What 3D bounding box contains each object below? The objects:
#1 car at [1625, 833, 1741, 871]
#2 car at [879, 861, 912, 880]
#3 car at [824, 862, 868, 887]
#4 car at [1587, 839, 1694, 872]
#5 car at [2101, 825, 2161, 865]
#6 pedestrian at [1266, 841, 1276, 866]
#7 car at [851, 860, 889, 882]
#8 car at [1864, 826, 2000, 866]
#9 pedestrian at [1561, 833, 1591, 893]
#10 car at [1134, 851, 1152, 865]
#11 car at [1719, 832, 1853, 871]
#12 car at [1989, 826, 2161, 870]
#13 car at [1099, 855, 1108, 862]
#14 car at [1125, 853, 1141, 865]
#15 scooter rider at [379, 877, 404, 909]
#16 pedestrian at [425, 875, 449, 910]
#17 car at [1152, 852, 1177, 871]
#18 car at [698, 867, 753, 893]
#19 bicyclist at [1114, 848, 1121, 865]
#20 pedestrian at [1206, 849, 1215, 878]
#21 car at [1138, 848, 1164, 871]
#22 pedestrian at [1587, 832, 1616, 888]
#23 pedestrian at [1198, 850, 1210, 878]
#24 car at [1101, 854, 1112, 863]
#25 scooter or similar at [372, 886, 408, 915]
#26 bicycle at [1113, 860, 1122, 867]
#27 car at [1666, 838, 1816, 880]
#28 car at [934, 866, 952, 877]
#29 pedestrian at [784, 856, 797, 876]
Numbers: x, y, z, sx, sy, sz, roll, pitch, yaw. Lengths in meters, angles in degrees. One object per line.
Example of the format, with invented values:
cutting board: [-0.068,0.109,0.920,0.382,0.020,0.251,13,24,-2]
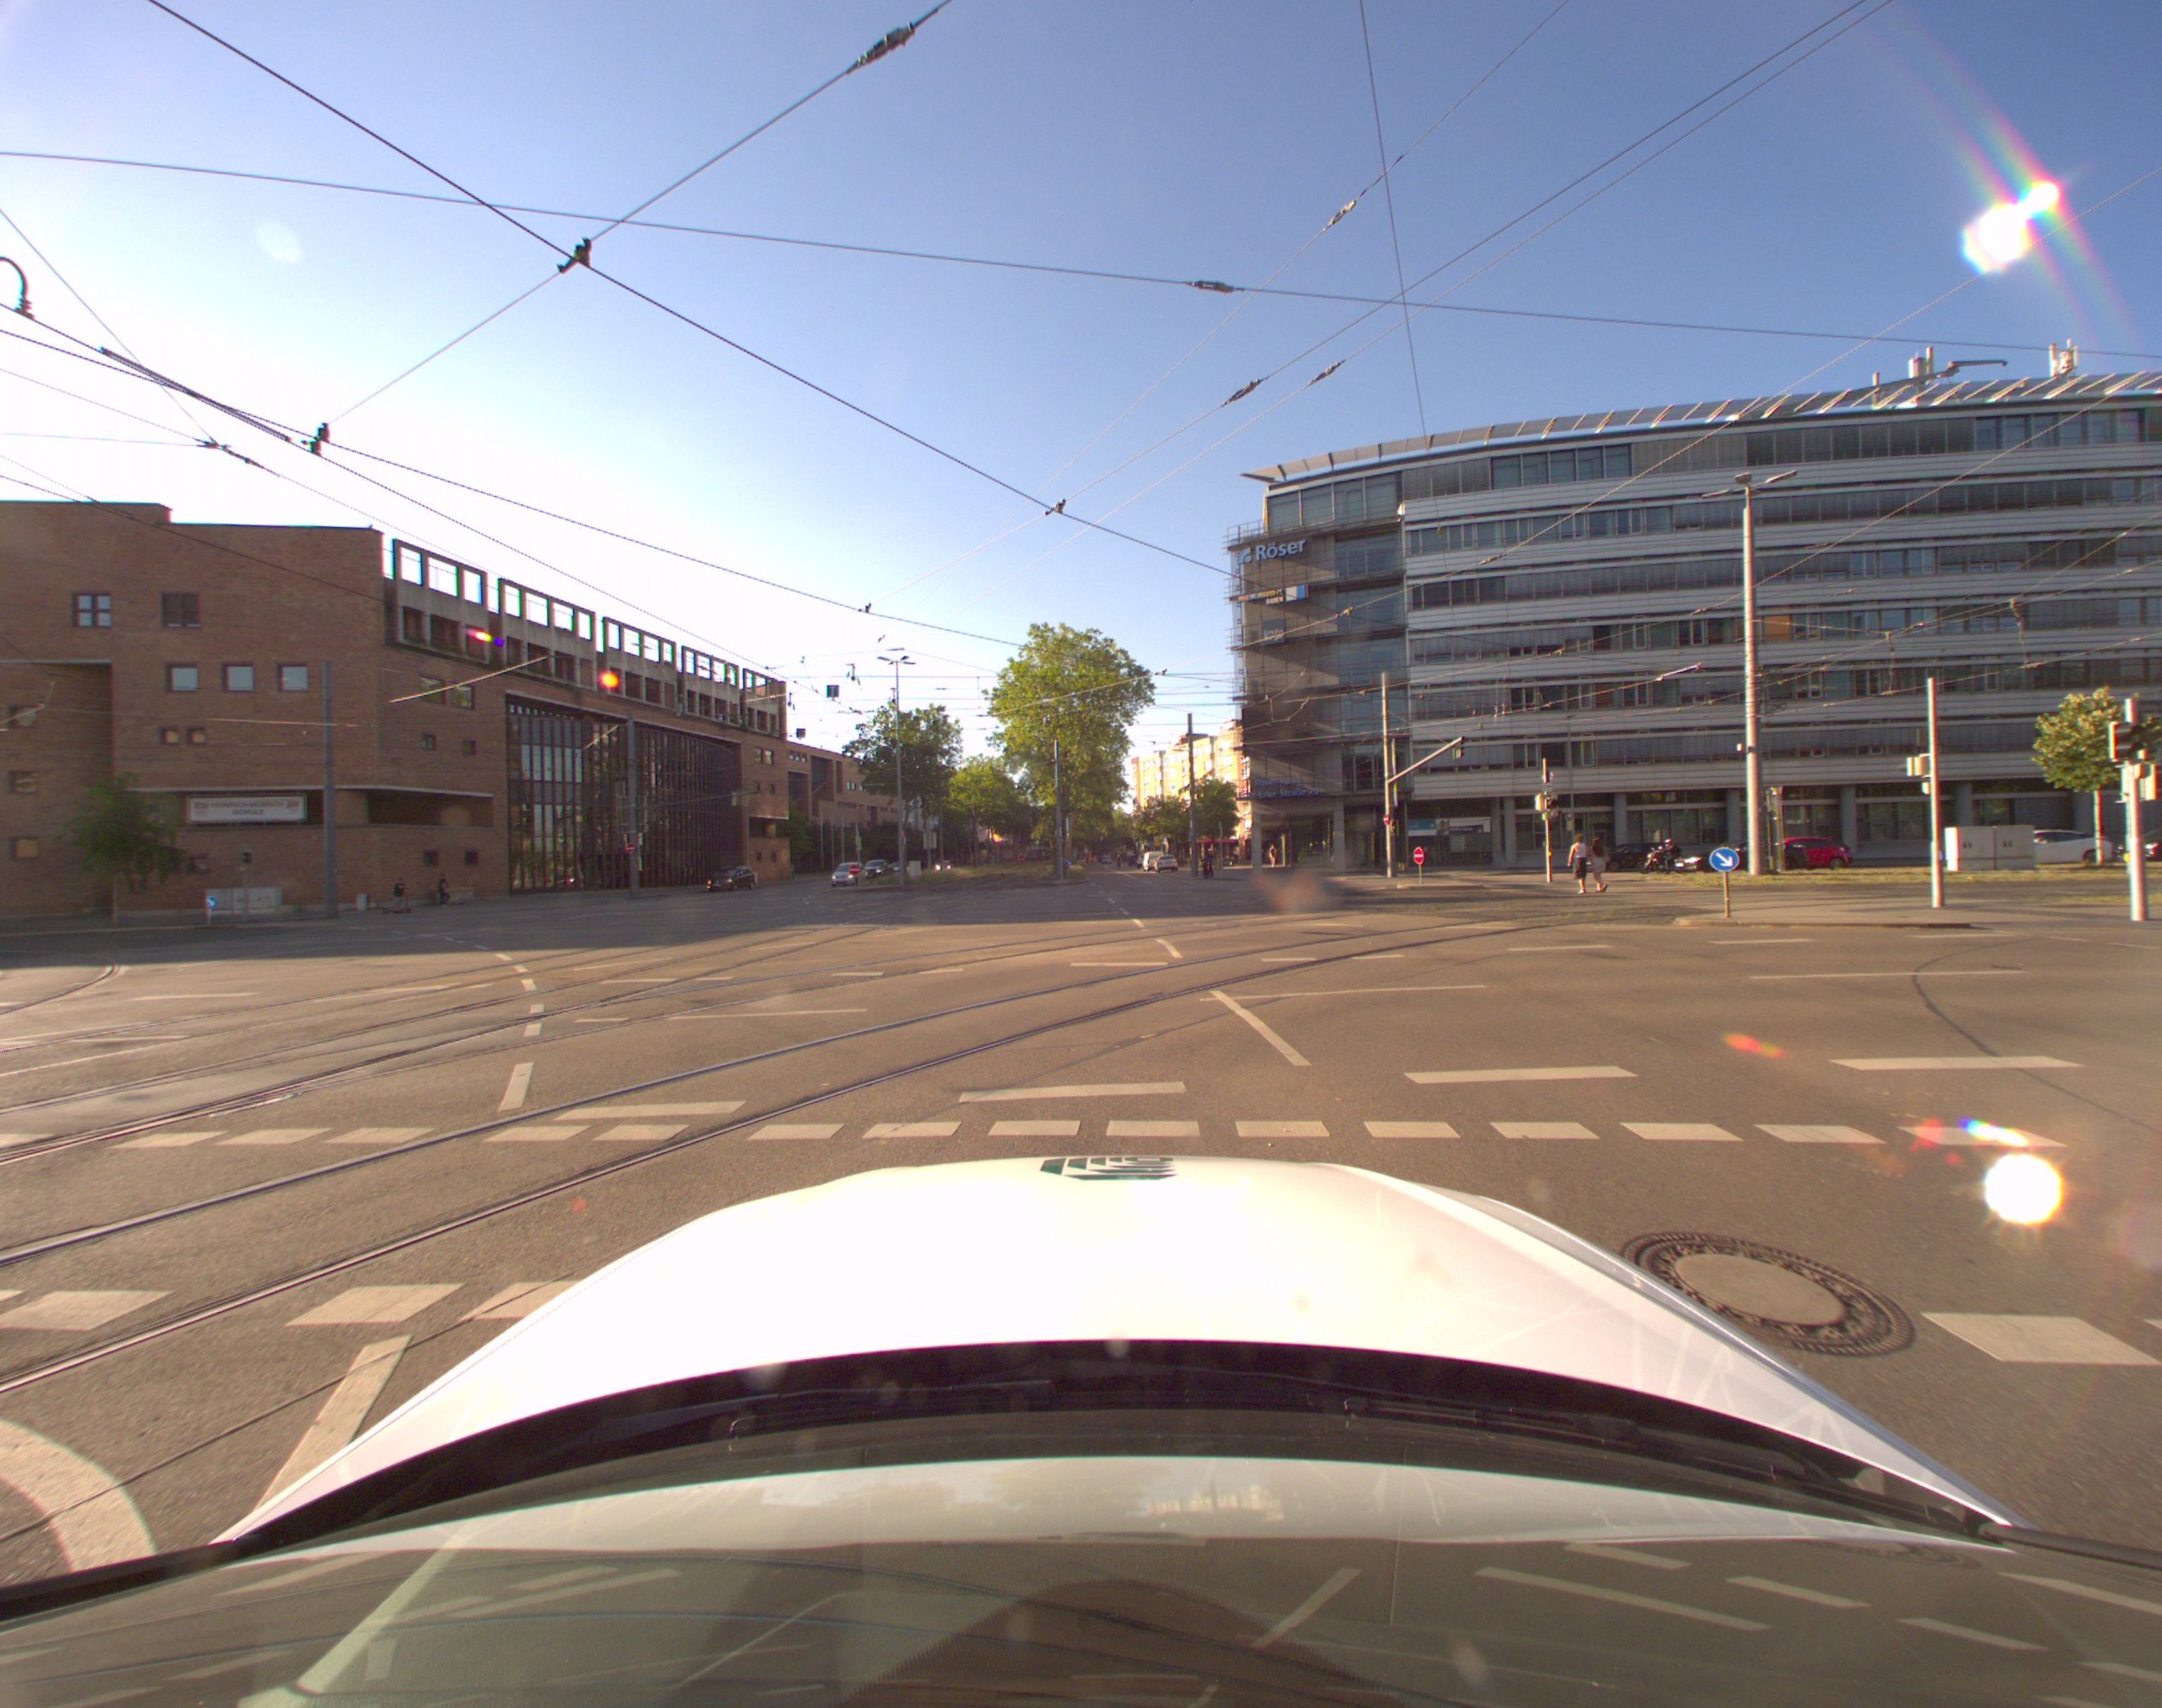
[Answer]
car: [27.427,-0.070,37.246,3.827,1.621,1.911,-1,0,12]
car: [-16.511,1.424,72.730,1.847,1.552,4.325,-2,0,0]
car: [-16.453,1.402,57.196,1.724,1.597,4.325,-2,0,0]
car: [28.689,0.069,41.915,4.130,1.621,1.911,-1,0,12]
car: [46.352,-0.401,34.209,4.130,1.621,1.911,-1,0,12]
pedestrian: [15.587,-0.006,66.839,0.670,2.013,0.515,-2,0,2]
car: [-16.663,1.327,64.478,1.847,1.650,4.325,-2,0,0]
car: [37.492,-0.333,35.971,3.963,1.596,1.633,-2,-1,9]
pedestrian: [15.370,0.273,25.308,0.690,1.842,0.973,-2,0,29]
car: [7.124,0.488,93.721,1.847,1.552,4.326,-2,0,1]
car: [31.434,-0.108,36.453,4.130,1.621,1.911,-1,0,12]
car: [39.484,-0.235,32.430,4.130,1.621,1.911,-1,0,12]
car: [5.106,0.986,184.550,1.846,1.552,4.329,-2,0,3]
car: [7.361,0.695,115.380,2.252,1.552,4.330,-2,0,4]
scooter rider: [-32.808,1.834,38.767,0.720,1.461,0.506,-2,0,-10]
pedestrian: [-32.932,1.964,41.654,0.656,1.716,0.829,-2,-1,40]
car: [7.286,0.623,71.475,1.847,1.552,4.326,-2,0,1]
car: [-25.026,1.795,57.548,1.827,1.654,4.500,-3,0,0]
bicyclist: [4.316,0.314,95.563,0.748,2.014,0.745,-1,0,8]
pedestrian: [8.251,0.614,51.899,0.374,1.824,0.544,-2,-1,-16]
car: [6.664,0.534,78.255,1.988,2.013,4.382,-2,0,-1]
pedestrian: [16.040,0.181,25.099,0.639,1.688,0.851,-2,0,29]
pedestrian: [7.940,0.642,52.668,0.544,1.824,0.586,-2,-1,-16]
car: [4.710,0.748,150.554,1.846,1.552,4.329,-2,0,3]
scooter or similar: [-32.873,2.221,38.752,1.129,1.318,0.527,-2,0,-11]
bicycle: [4.303,1.060,95.517,0.813,0.774,1.734,-2,0,8]
car: [27.394,0.206,33.943,4.479,1.621,1.911,-1,0,12]
car: [-16.903,2.111,99.690,1.845,1.222,3.979,-2,0,-15]
pedestrian: [-28.639,1.174,80.167,0.890,2.014,0.760,-2,-1,12]
